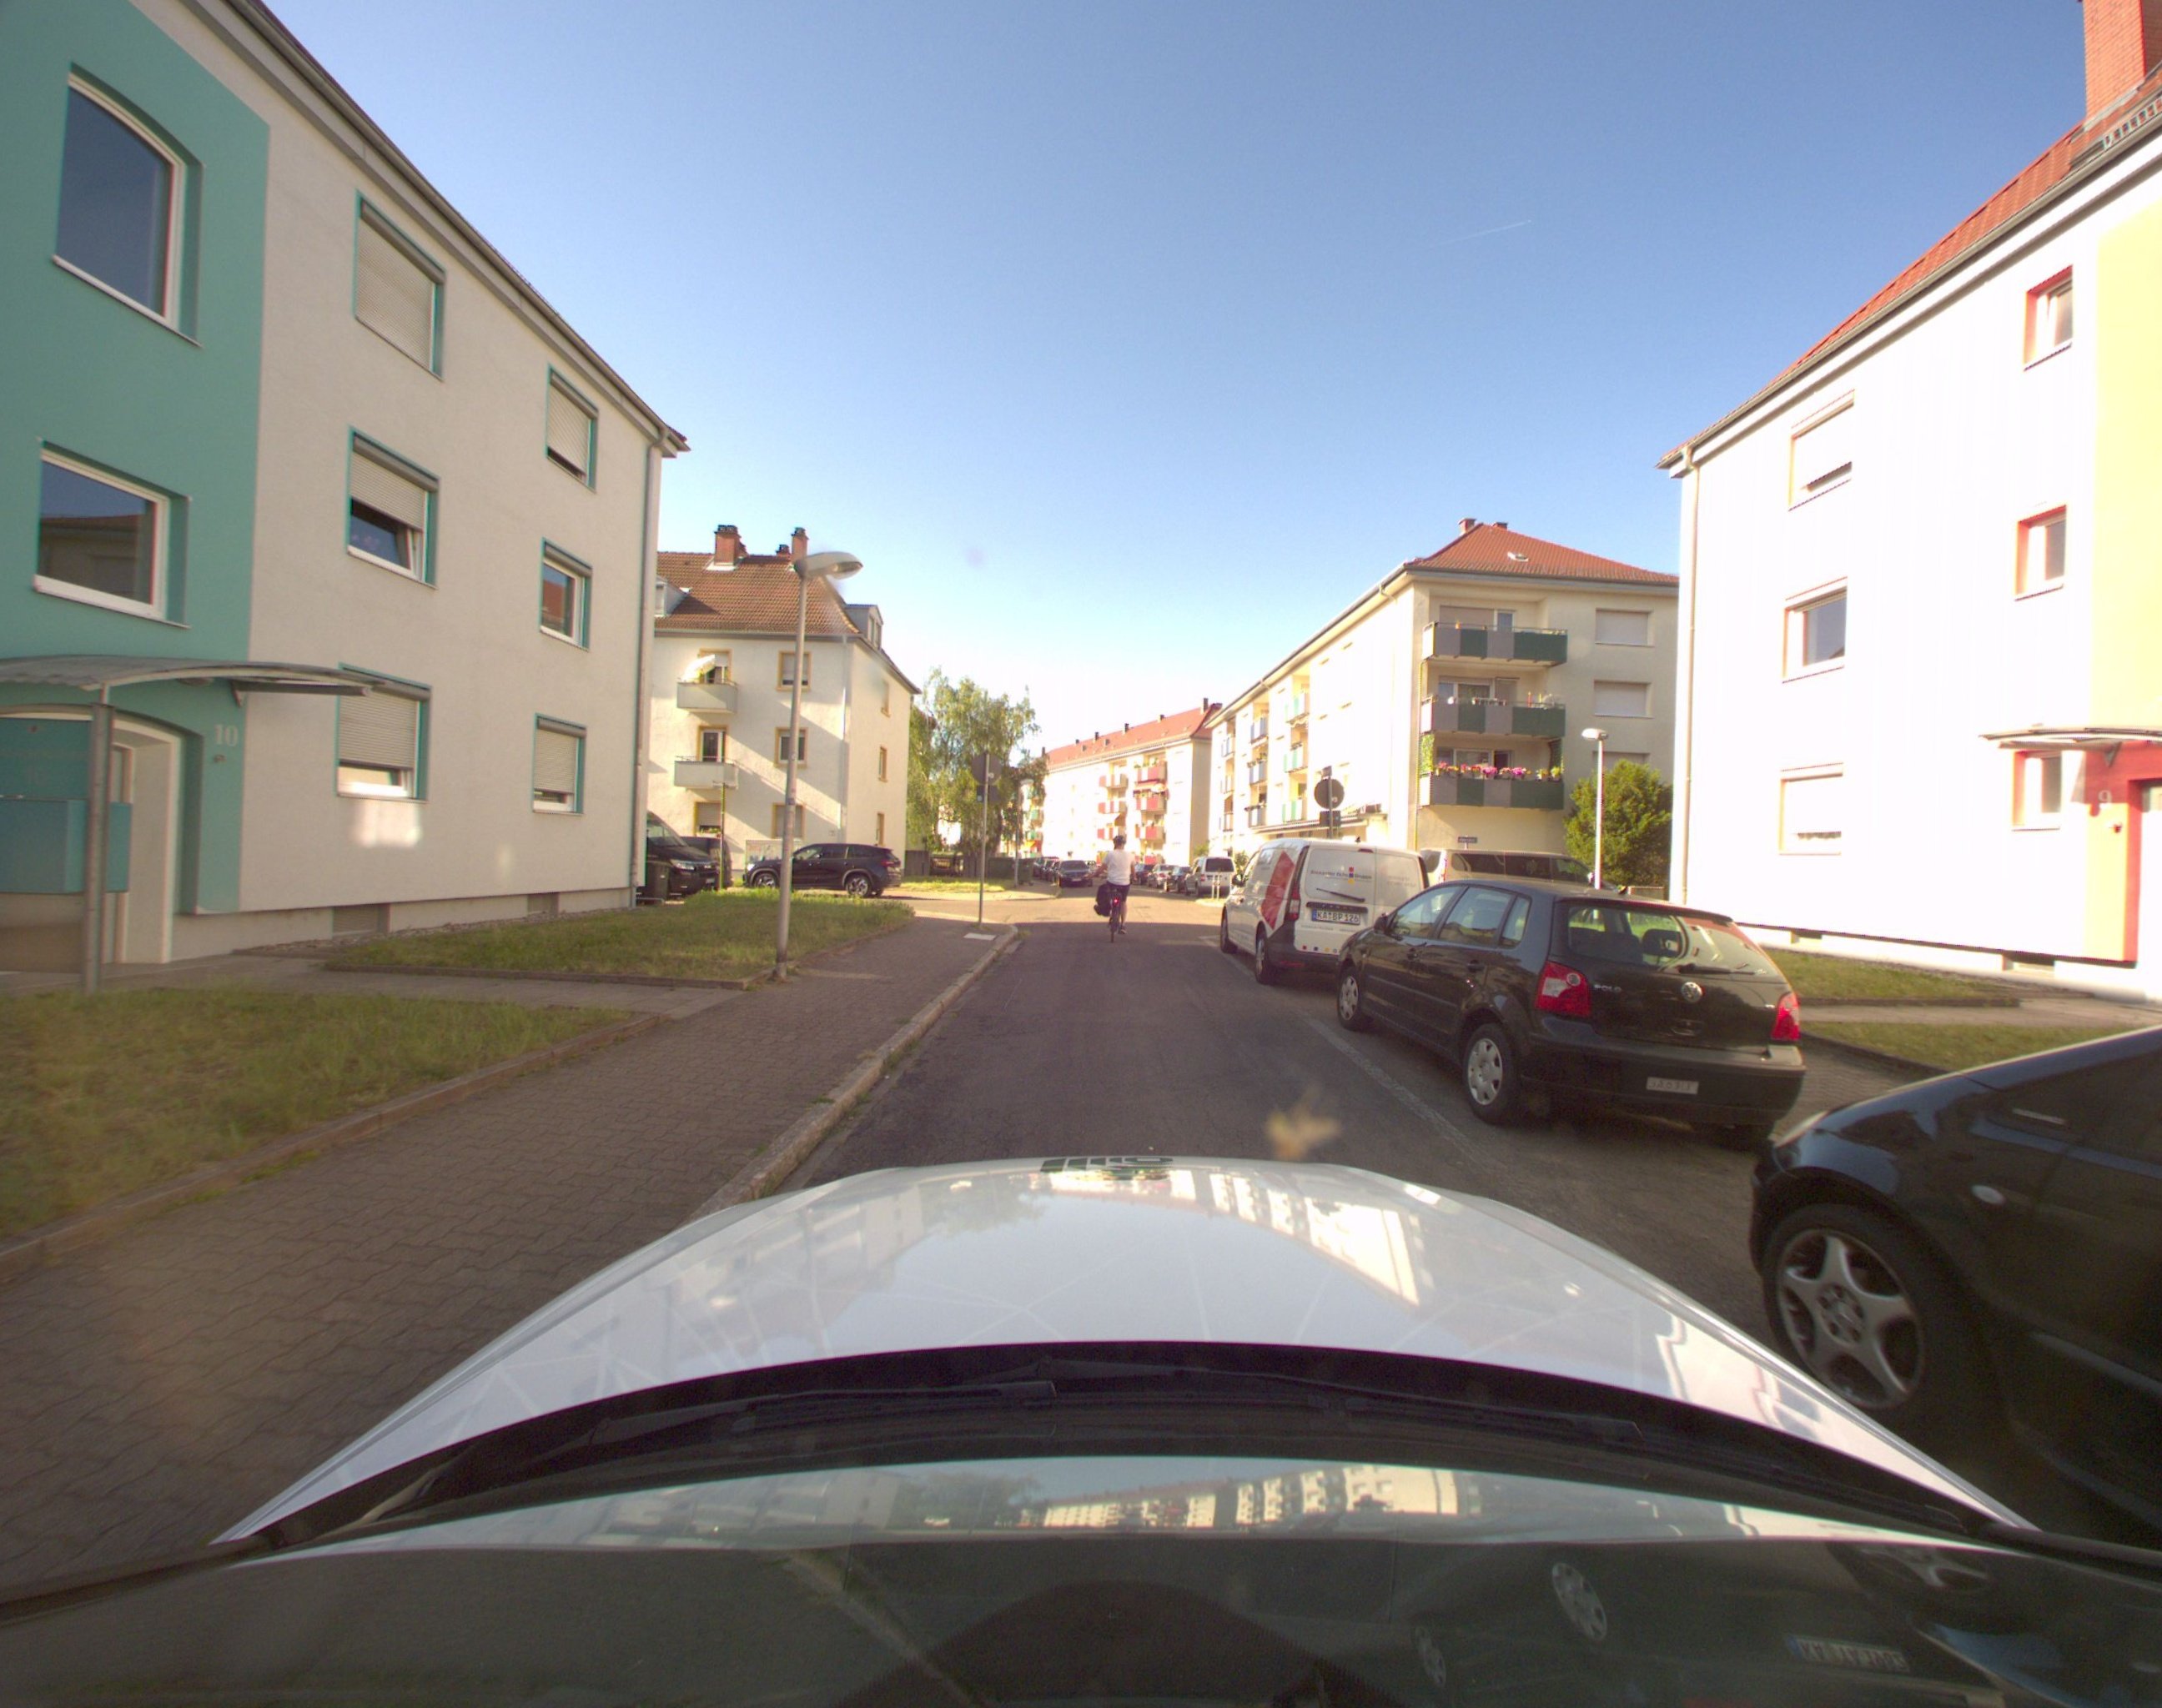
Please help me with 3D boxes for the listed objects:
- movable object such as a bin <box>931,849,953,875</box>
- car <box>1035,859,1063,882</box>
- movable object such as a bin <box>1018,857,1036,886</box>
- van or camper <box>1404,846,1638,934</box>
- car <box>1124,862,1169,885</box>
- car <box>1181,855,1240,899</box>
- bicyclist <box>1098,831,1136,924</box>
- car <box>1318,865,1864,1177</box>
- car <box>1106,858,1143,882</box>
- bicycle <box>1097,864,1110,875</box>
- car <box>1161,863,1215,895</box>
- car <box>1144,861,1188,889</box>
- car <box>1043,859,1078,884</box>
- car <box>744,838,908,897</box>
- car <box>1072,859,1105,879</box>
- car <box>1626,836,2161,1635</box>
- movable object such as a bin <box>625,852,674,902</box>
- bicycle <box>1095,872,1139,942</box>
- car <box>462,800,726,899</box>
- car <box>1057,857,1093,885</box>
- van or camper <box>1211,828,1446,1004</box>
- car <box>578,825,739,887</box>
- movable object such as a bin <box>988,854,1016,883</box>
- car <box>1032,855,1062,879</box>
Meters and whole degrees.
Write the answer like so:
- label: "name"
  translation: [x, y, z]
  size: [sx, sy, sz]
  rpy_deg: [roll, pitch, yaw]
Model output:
- label: "movable object such as a bin"
  translation: [-7.834, 0.462, 45.909]
  size: [1.057, 1.435, 1.002]
  rpy_deg: [0, 0, -2]
- label: "car"
  translation: [-2.174, 1.064, 54.799]
  size: [1.554, 1.442, 3.957]
  rpy_deg: [-1, 0, -8]
- label: "movable object such as a bin"
  translation: [-2.664, 0.853, 40.354]
  size: [0.773, 1.393, 1.416]
  rpy_deg: [2, -1, -1]
- label: "van or camper"
  translation: [11.525, 0.904, 21.591]
  size: [5.109, 2.013, 1.999]
  rpy_deg: [2, 1, -1]
- label: "car"
  translation: [4.286, 1.236, 53.716]
  size: [1.695, 1.431, 4.668]
  rpy_deg: [1, -1, -12]
- label: "car"
  translation: [5.732, 0.990, 36.475]
  size: [1.743, 1.824, 4.126]
  rpy_deg: [-1, 0, -3]
- label: "bicyclist"
  translation: [0.649, 0.413, 14.460]
  size: [0.593, 1.579, 0.908]
  rpy_deg: [1, -1, 6]
- label: "car"
  translation: [3.161, 0.881, 6.045]
  size: [1.568, 1.417, 3.787]
  rpy_deg: [5, 0, -1]
- label: "car"
  translation: [3.192, 1.221, 60.878]
  size: [1.695, 1.656, 4.371]
  rpy_deg: [1, -3, -11]
- label: "bicycle"
  translation: [2.265, 1.533, 82.482]
  size: [0.619, 0.978, 1.883]
  rpy_deg: [-1, 2, -21]
- label: "car"
  translation: [5.457, 1.259, 42.005]
  size: [1.676, 1.407, 4.535]
  rpy_deg: [3, 0, -7]
- label: "car"
  translation: [4.966, 1.207, 48.271]
  size: [1.675, 1.447, 4.716]
  rpy_deg: [3, 0, -5]
- label: "car"
  translation: [-1.286, 1.042, 49.559]
  size: [1.677, 1.442, 4.268]
  rpy_deg: [-1, 0, -8]
- label: "car"
  translation: [-7.790, 0.432, 25.163]
  size: [4.473, 1.664, 1.719]
  rpy_deg: [1, -2, 0]
- label: "car"
  translation: [0.640, 1.283, 73.221]
  size: [1.770, 1.635, 4.017]
  rpy_deg: [0, 1, -18]
- label: "car"
  translation: [2.951, 0.779, 1.276]
  size: [1.613, 1.550, 3.607]
  rpy_deg: [3, 0, -3]
- label: "movable object such as a bin"
  translation: [-9.024, 0.477, 17.059]
  size: [0.611, 0.992, 0.714]
  rpy_deg: [3, 0, -1]
- label: "bicycle"
  translation: [0.658, 0.909, 14.435]
  size: [0.624, 1.115, 1.819]
  rpy_deg: [-3, -1, 6]
- label: "car"
  translation: [-13.087, -0.109, 22.163]
  size: [5.922, 2.545, 2.000]
  rpy_deg: [0, 0, -1]
- label: "car"
  translation: [-0.368, 0.903, 44.804]
  size: [1.674, 1.453, 4.614]
  rpy_deg: [-1, 0, -4]
- label: "van or camper"
  translation: [3.083, 0.687, 11.272]
  size: [1.786, 1.747, 4.736]
  rpy_deg: [6, 0, 1]
- label: "car"
  translation: [-12.950, 0.083, 25.150]
  size: [3.977, 1.789, 1.719]
  rpy_deg: [1, -2, 0]
- label: "movable object such as a bin"
  translation: [-3.929, 0.732, 40.676]
  size: [1.214, 1.380, 0.768]
  rpy_deg: [3, -1, 3]
- label: "car"
  translation: [-2.568, 0.947, 60.301]
  size: [1.556, 1.714, 4.321]
  rpy_deg: [-1, 0, -11]
